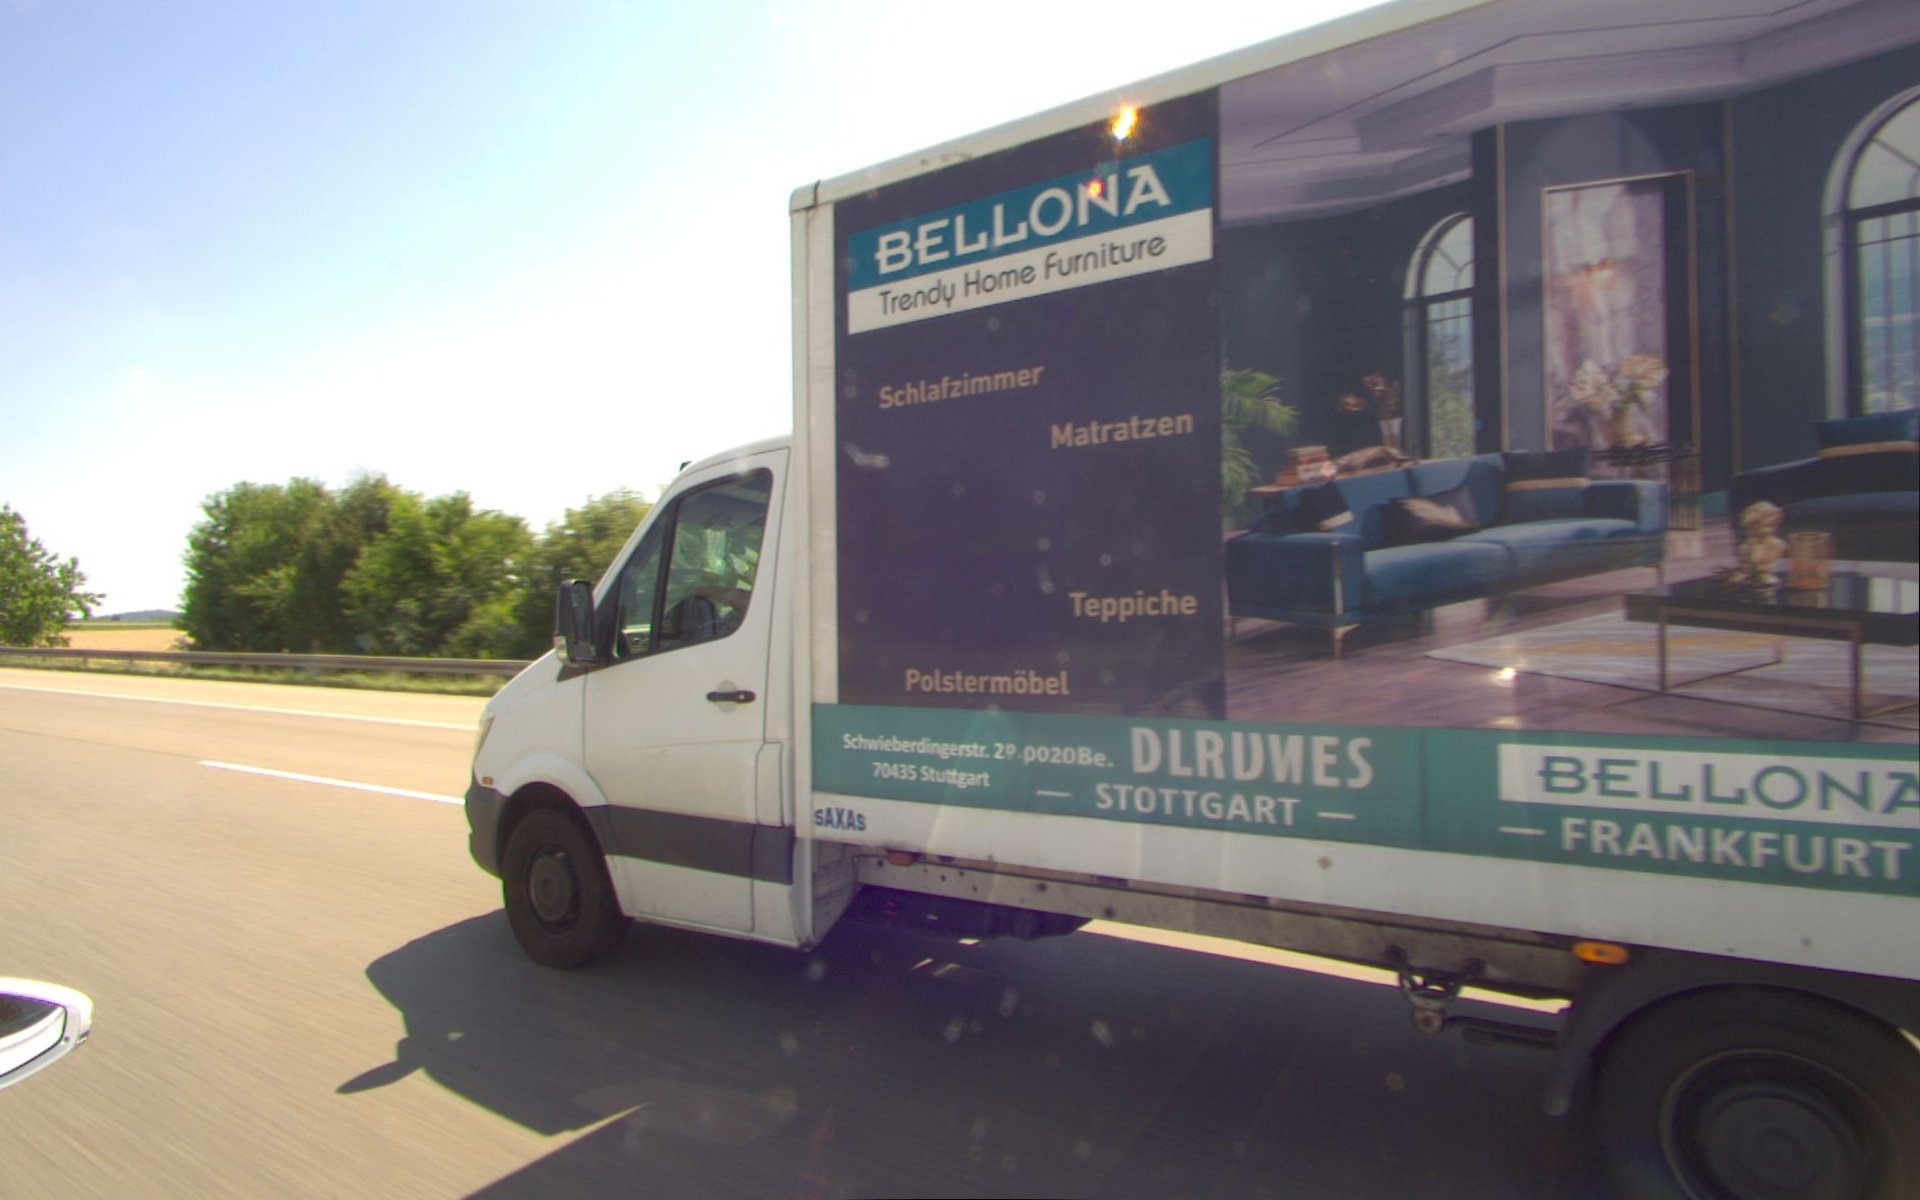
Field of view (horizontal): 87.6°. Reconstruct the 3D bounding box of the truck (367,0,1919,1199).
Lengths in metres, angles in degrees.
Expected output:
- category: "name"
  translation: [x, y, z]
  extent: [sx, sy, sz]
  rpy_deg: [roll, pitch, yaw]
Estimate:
- category: "truck"
  translation: [0.561, 0.032, 4.077]
  extent: [6.654, 3.107, 2.317]
  rpy_deg: [-1, -1, 32]
